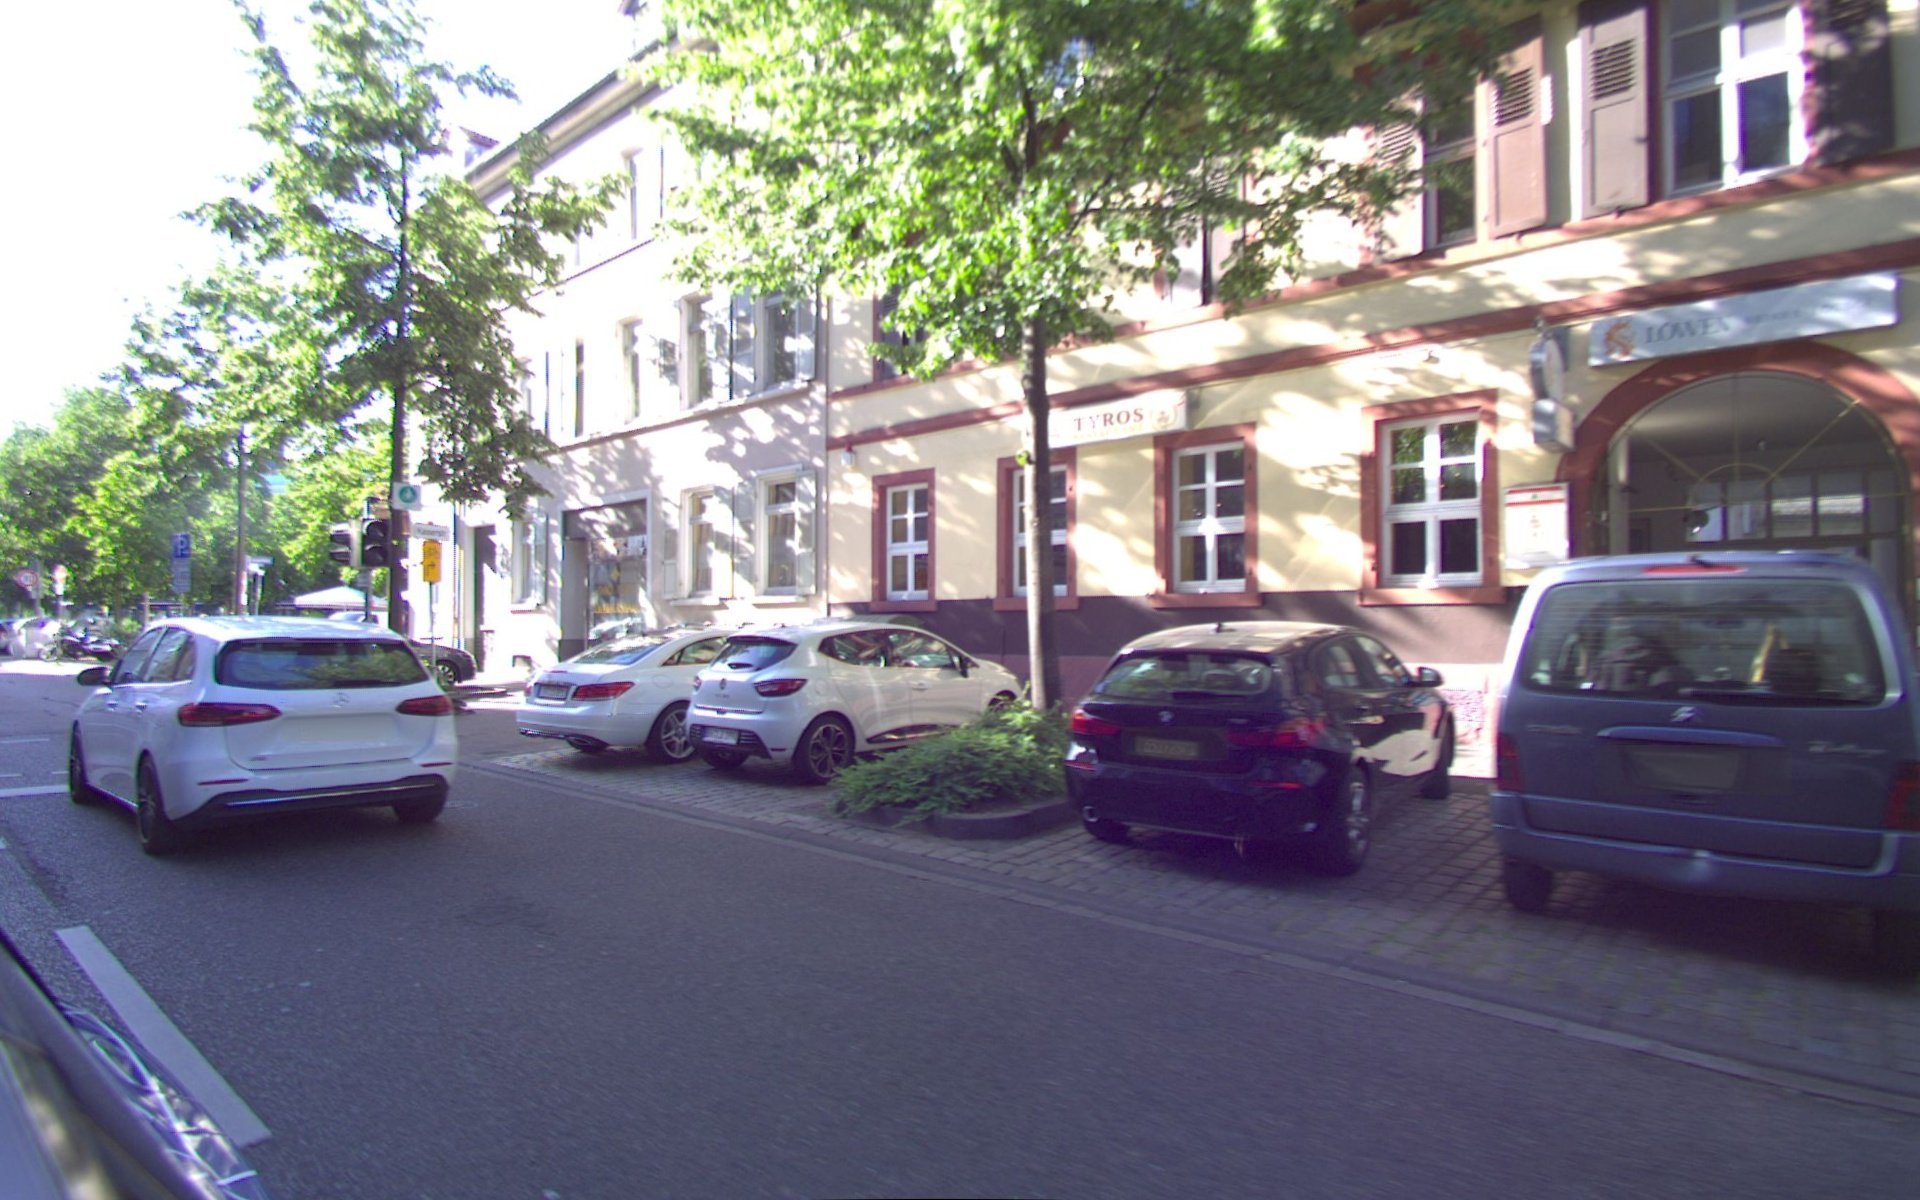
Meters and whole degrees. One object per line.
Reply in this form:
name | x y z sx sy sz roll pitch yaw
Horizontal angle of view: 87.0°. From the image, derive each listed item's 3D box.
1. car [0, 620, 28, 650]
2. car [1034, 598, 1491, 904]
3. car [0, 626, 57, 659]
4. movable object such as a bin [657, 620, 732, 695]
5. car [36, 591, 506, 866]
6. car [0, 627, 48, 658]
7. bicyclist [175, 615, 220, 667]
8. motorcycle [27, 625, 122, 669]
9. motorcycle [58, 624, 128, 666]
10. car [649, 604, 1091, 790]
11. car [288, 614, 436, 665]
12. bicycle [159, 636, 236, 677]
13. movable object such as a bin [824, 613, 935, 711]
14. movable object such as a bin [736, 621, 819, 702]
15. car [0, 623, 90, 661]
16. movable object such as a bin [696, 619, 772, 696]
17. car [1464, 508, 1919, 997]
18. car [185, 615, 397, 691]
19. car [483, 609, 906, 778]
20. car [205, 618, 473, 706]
car | -54.994 1.975 56.429 1.986 1.706 3.971 -1 -1 22
car | 2.505 0.799 7.503 1.960 1.556 4.301 -1 -1 35
car | -44.261 1.947 46.354 1.978 1.453 3.988 -1 -1 10
movable object such as a bin | -5.157 1.090 19.631 1.261 1.377 0.899 -1 -1 44
car | -5.520 0.805 7.887 4.350 1.556 1.891 -1 -3 40
car | -46.600 2.054 48.458 1.981 1.485 3.981 -1 -1 15
bicyclist | -22.959 1.219 30.479 0.661 1.537 0.887 -1 -1 9
motorcycle | -30.634 1.617 35.067 2.282 1.434 1.004 0 -1 -22
motorcycle | -30.885 1.593 36.072 1.724 1.434 0.832 0 -1 -22
car | -0.745 0.856 10.977 1.999 1.503 4.650 -3 -1 41
car | -24.396 1.619 41.587 2.055 1.959 5.302 -1 -2 15
bicycle | -22.954 1.683 30.504 0.661 1.167 1.939 -1 -1 8
movable object such as a bin | -1.276 0.941 15.980 1.382 1.455 1.121 -1 -1 44
movable object such as a bin | -3.230 1.055 17.875 1.346 1.372 0.808 -1 -1 45
car | -42.015 1.858 45.571 1.978 1.574 3.988 -1 -1 10
movable object such as a bin | -4.198 1.045 18.781 1.249 1.366 0.820 -1 -1 45
car | 4.615 0.593 5.817 1.930 1.838 4.292 -2 -1 43
car | -16.182 1.212 24.613 1.944 1.652 3.944 -1 -1 42
car | -2.887 0.902 12.022 1.996 1.503 4.657 0 1 36
car | -12.470 1.168 20.508 1.944 1.556 4.292 -2 -1 43
